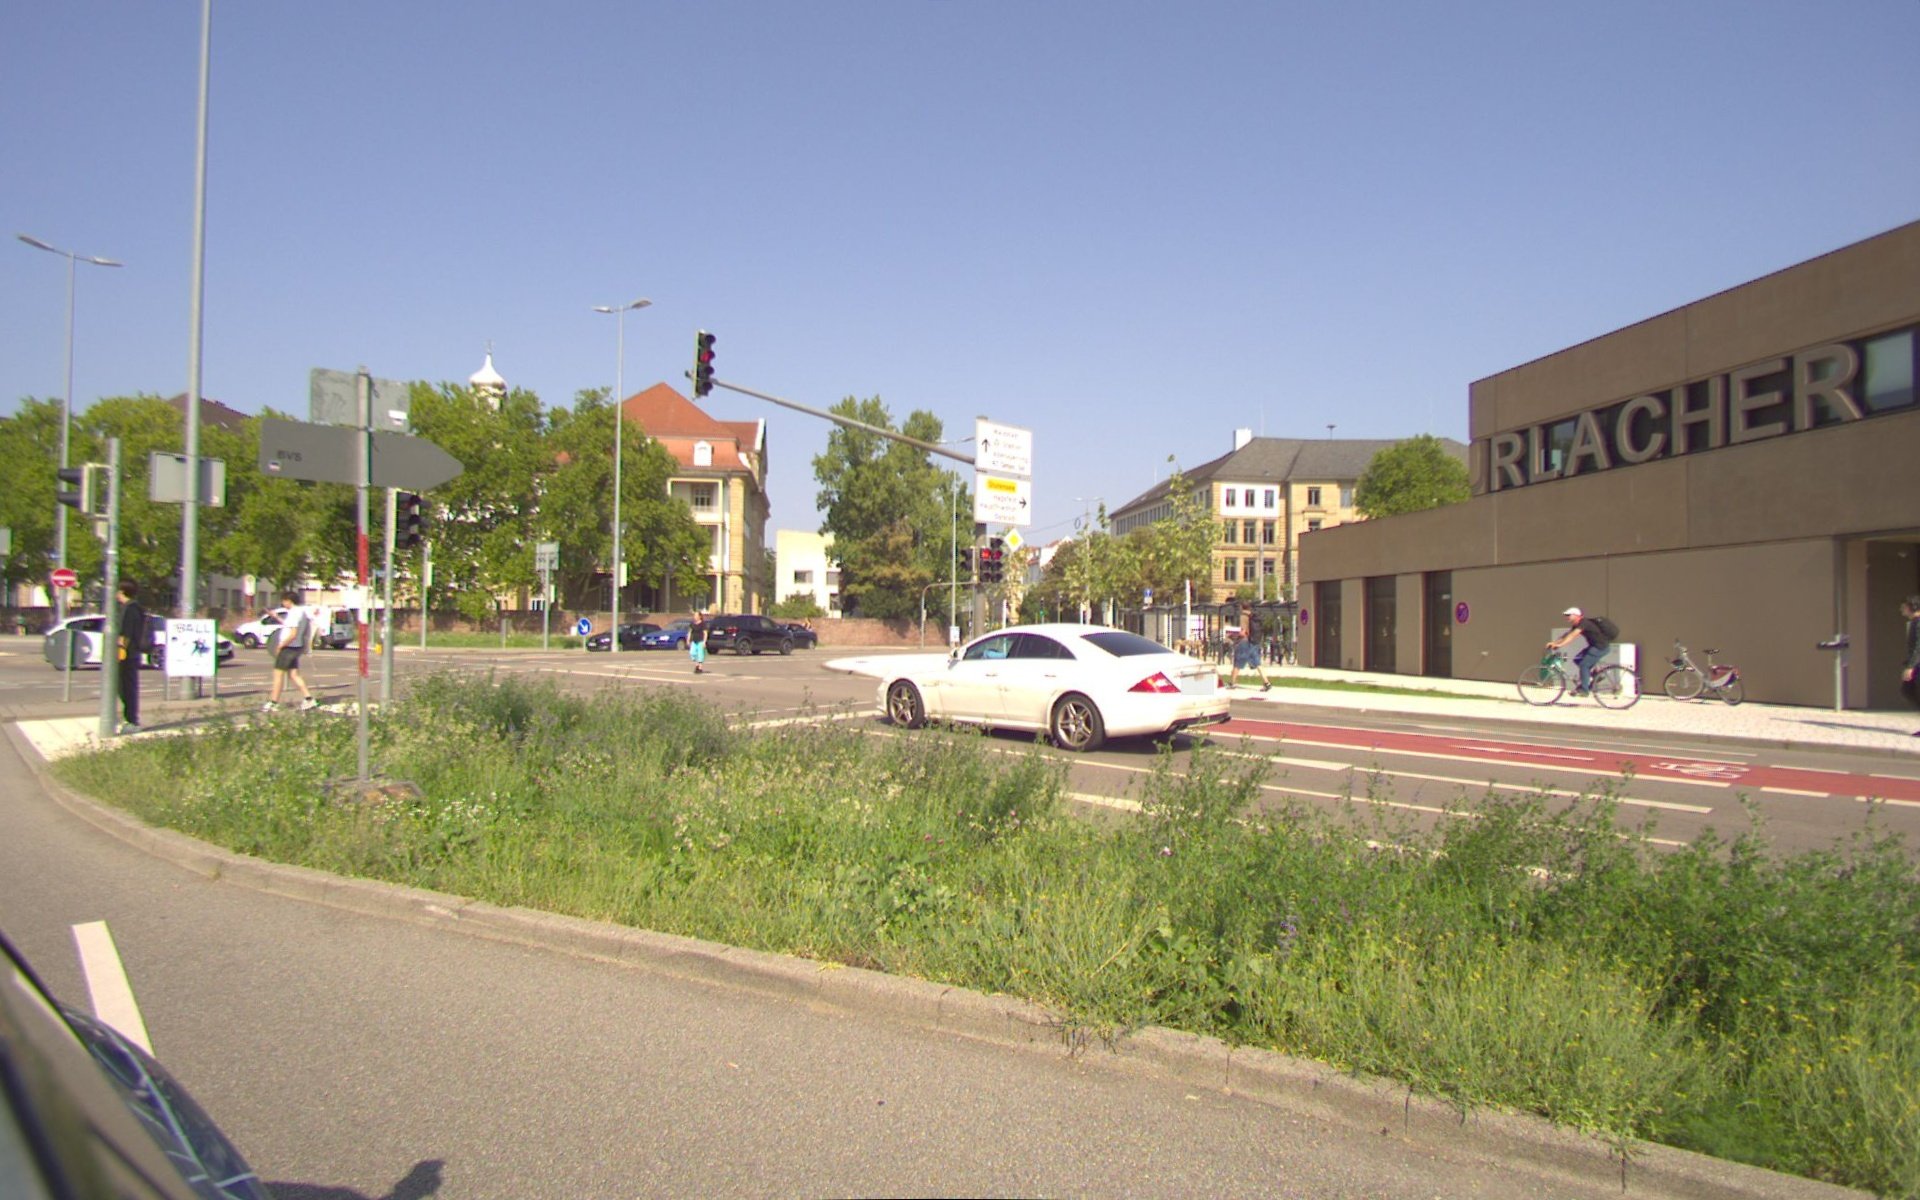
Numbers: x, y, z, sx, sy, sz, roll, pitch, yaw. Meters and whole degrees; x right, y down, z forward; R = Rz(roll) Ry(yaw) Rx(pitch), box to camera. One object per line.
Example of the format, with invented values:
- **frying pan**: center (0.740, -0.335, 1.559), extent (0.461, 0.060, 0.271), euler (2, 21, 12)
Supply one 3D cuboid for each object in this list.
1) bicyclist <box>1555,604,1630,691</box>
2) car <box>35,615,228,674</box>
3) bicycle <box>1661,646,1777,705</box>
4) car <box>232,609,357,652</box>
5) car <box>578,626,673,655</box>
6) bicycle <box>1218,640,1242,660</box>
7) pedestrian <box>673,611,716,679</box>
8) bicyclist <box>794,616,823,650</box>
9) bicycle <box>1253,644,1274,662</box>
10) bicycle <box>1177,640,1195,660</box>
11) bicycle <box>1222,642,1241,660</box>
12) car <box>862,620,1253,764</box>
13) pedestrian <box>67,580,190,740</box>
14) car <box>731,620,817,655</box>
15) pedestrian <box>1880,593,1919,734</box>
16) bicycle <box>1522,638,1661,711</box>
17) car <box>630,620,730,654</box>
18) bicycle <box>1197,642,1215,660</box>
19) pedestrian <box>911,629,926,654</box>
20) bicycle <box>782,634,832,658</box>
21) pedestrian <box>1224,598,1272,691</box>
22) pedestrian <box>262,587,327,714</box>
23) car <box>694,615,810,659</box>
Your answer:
- **bicyclist**: center (10.317, 0.775, 16.510), extent (0.883, 1.372, 0.556), euler (-4, -4, 44)
- **car**: center (-21.755, 1.156, 26.649), extent (3.817, 1.447, 1.713), euler (0, -2, 6)
- **bicycle**: center (13.413, 1.317, 17.947), extent (0.650, 0.963, 1.616), euler (-1, -2, -9)
- **car**: center (-27.482, 1.294, 41.914), extent (3.938, 1.691, 1.759), euler (0, -3, -5)
- **car**: center (-15.612, 1.869, 47.465), extent (1.991, 1.276, 3.961), euler (0, -2, 28)
- **bicycle**: center (13.469, 2.486, 50.512), extent (0.525, 0.994, 1.716), euler (1, -2, -7)
- **pedestrian**: center (-6.351, 1.060, 24.218), extent (0.745, 1.577, 0.665), euler (2, -2, 10)
- **bicyclist**: center (-8.062, 1.759, 53.888), extent (0.884, 1.759, 1.355), euler (-4, -4, 31)
- **bicycle**: center (15.430, 2.696, 51.482), extent (0.403, 0.899, 1.590), euler (1, -2, -7)
- **bicycle**: center (11.867, 2.613, 53.066), extent (0.415, 0.975, 1.590), euler (1, -2, -7)
- **bicycle**: center (14.080, 2.658, 52.488), extent (0.403, 0.899, 1.590), euler (1, -2, -7)
- **car**: center (1.014, 0.982, 12.643), extent (4.821, 1.372, 1.821), euler (0, 0, 45)
- **pedestrian**: center (-10.172, 0.717, 12.389), extent (1.066, 1.854, 0.730), euler (2, -3, -44)
- **car**: center (-8.722, 1.740, 47.797), extent (1.990, 1.564, 3.963), euler (0, -2, 27)
- **pedestrian**: center (12.619, 0.807, 13.122), extent (0.863, 1.792, 0.849), euler (1, -4, -42)
- **bicycle**: center (10.282, 1.187, 16.523), extent (1.851, 1.072, 0.556), euler (0, 0, 43)
- **car**: center (-11.628, 1.544, 42.274), extent (1.599, 1.339, 4.294), euler (0, -2, 26)
- **bicycle**: center (12.918, 2.673, 53.151), extent (0.403, 0.899, 1.590), euler (1, -2, -7)
- **pedestrian**: center (-3.392, 3.365, 82.241), extent (0.821, 2.029, 0.895), euler (-5, -4, 41)
- **bicycle**: center (-8.090, 2.414, 53.783), extent (0.884, 1.214, 3.046), euler (-4, -4, 30)
- **pedestrian**: center (5.608, 0.854, 19.705), extent (0.871, 1.773, 0.675), euler (-1, 0, 18)
- **pedestrian**: center (-10.026, 0.752, 15.241), extent (0.684, 1.847, 0.571), euler (2, -2, -44)
- **car**: center (-7.906, 1.403, 38.928), extent (1.845, 1.590, 4.670), euler (0, -2, 27)
